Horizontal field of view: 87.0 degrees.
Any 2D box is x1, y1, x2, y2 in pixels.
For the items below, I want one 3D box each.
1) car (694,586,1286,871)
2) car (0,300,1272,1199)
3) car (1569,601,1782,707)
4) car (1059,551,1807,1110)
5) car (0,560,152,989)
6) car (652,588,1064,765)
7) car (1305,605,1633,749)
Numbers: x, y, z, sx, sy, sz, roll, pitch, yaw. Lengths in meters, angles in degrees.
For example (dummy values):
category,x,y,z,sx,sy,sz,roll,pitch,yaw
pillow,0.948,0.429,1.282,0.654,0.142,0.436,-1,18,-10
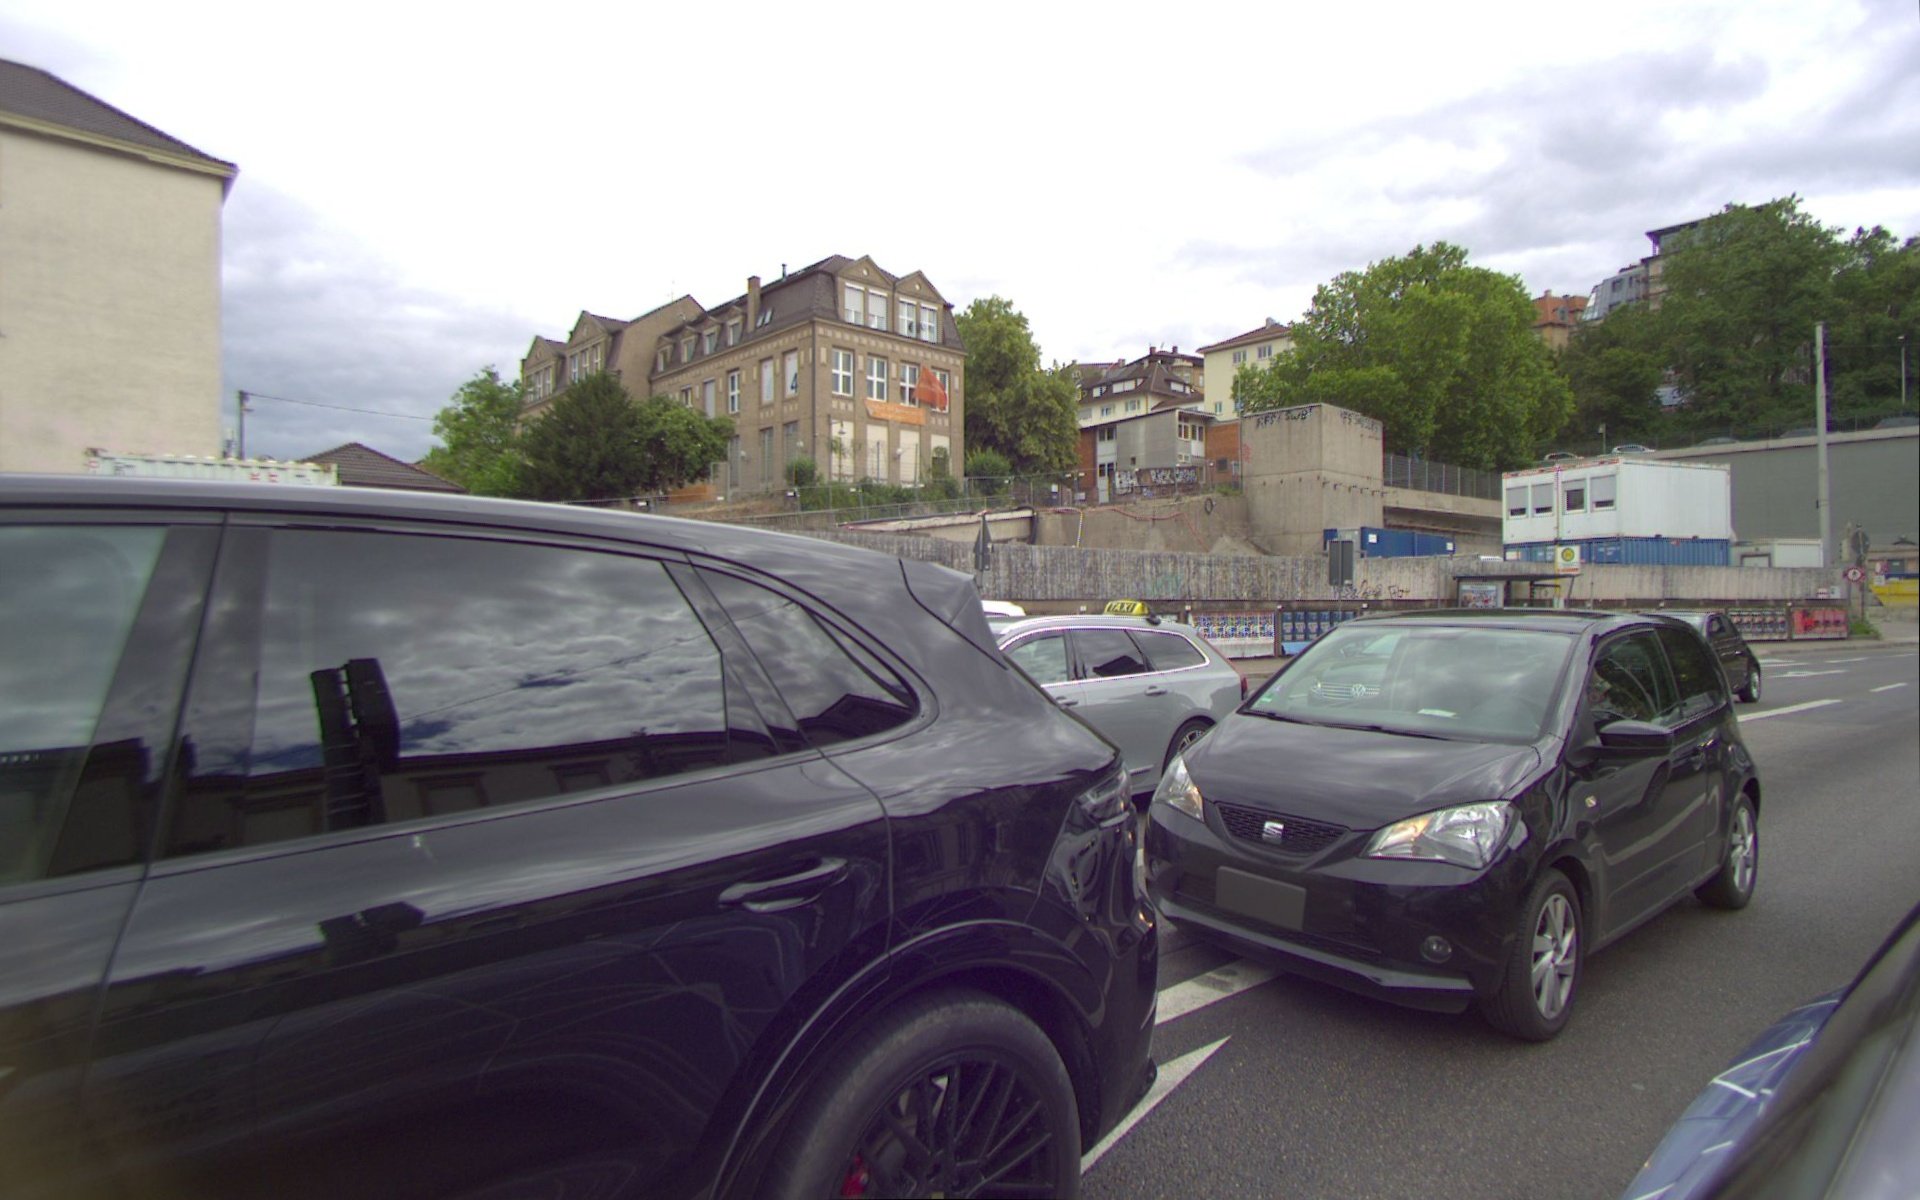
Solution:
category,x,y,z,sx,sy,sz,roll,pitch,yaw
car,0.401,0.653,7.339,4.142,1.484,1.825,-1,0,-40
car,-1.656,0.552,1.666,4.497,1.689,1.998,-1,0,-39
car,11.385,0.784,16.037,3.711,1.478,1.721,1,-2,-38
car,2.413,0.627,4.718,3.841,1.575,1.661,-1,0,-39
car,-5.061,0.633,3.456,3.581,1.529,1.826,-1,0,-39
car,-0.938,0.628,10.602,4.004,1.484,1.824,-1,0,-42
car,6.025,0.763,11.805,4.139,1.381,1.827,1,0,-38
